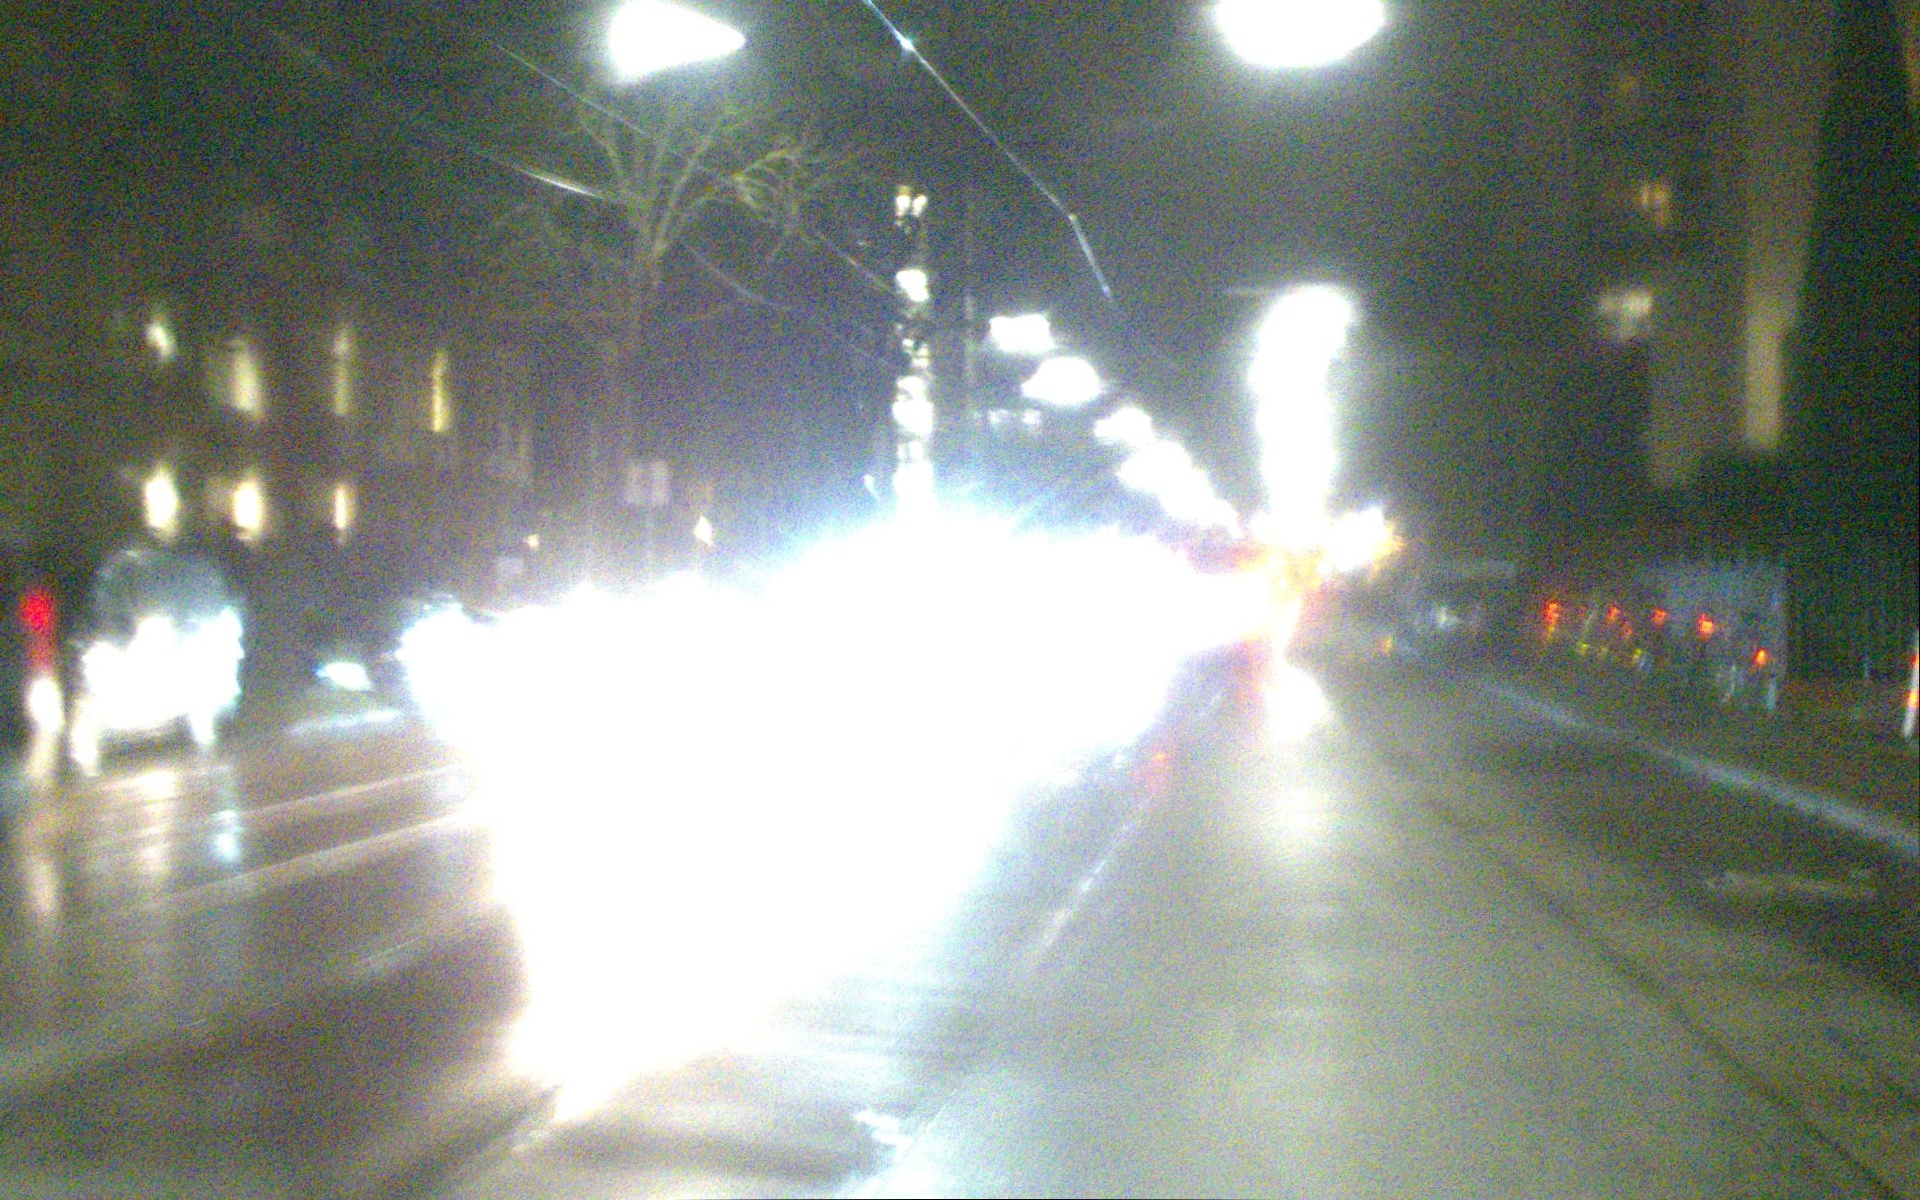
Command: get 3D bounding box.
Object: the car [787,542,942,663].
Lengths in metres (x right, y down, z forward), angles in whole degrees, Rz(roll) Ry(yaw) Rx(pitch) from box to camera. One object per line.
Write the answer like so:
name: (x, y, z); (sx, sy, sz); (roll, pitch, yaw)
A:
car: (-1.540, 0.007, 57.200); (1.926, 1.873, 4.636); (-2, 1, 6)

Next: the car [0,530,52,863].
car: (-6.537, 0.557, 17.767); (1.895, 1.863, 4.534); (-1, 0, 9)

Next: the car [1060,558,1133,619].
car: (4.313, -0.384, 108.337); (1.939, 1.809, 4.384); (-2, 1, 6)

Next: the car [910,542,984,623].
car: (-0.388, -0.579, 111.870); (2.025, 2.490, 5.607); (2, 1, 3)

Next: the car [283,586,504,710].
car: (-6.967, 0.560, 42.676); (1.766, 1.402, 4.141); (2, 0, 4)

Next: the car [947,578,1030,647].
car: (0.668, 0.261, 77.870); (1.651, 1.474, 4.205); (-2, 0, 3)

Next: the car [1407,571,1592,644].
car: (11.643, 0.171, 74.155); (3.778, 1.453, 1.770); (2, 0, -37)

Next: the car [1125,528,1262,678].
car: (4.008, 0.032, 59.135); (2.217, 2.433, 5.383); (1, 0, 4)

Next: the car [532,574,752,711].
car: (-3.573, 0.450, 39.256); (1.793, 1.459, 3.900); (0, 1, 6)

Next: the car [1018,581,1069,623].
car: (3.763, 0.094, 154.300); (2.000, 1.779, 3.999); (2, 0, 5)
